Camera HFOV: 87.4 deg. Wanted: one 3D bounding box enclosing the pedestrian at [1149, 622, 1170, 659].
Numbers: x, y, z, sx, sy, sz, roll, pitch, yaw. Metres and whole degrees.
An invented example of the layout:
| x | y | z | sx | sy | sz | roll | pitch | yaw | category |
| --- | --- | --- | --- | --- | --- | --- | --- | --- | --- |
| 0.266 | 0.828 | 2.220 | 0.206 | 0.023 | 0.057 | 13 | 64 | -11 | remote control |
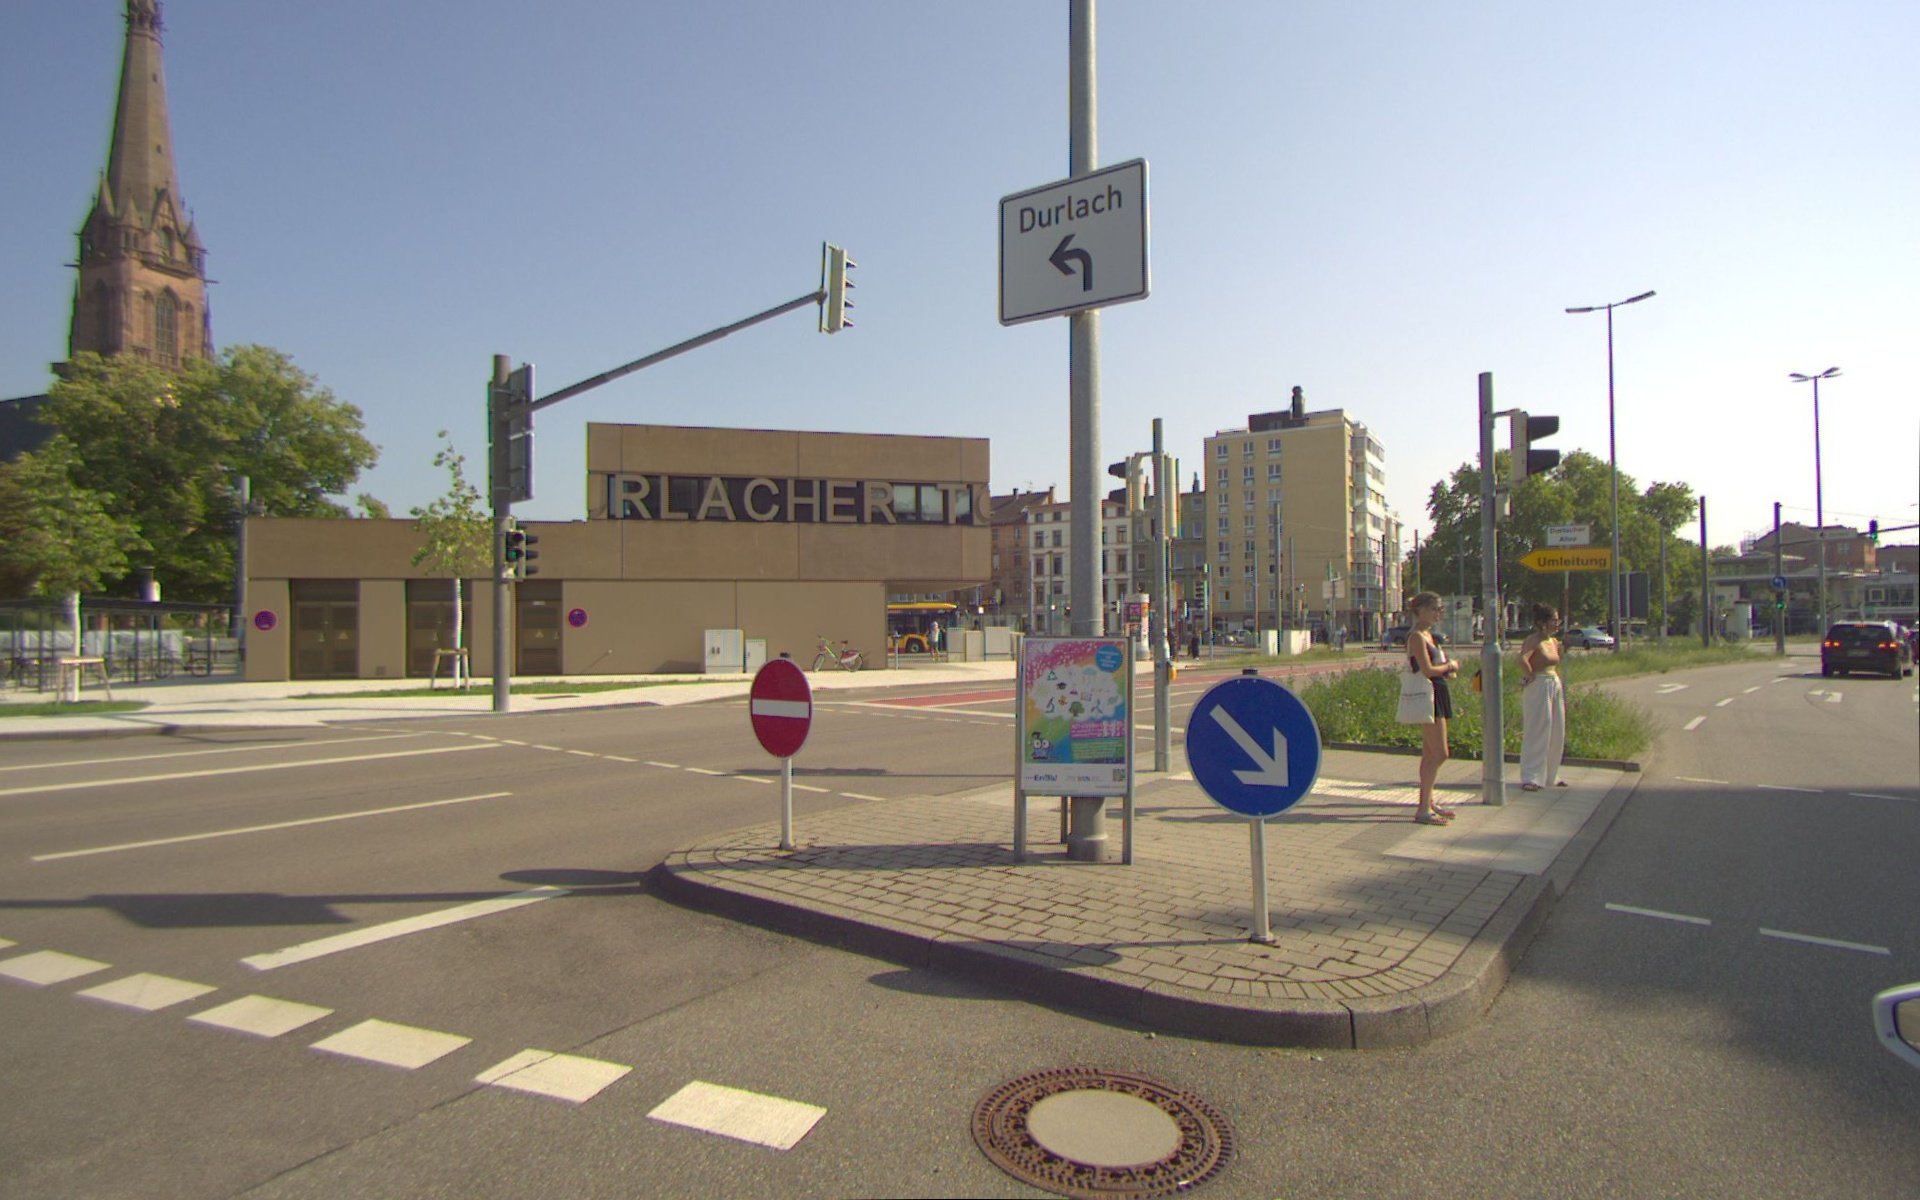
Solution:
| x | y | z | sx | sy | sz | roll | pitch | yaw | category |
| --- | --- | --- | --- | --- | --- | --- | --- | --- | --- |
| 9.864 | 1.988 | 49.708 | 0.769 | 1.824 | 0.697 | -2 | -2 | 41 | pedestrian |

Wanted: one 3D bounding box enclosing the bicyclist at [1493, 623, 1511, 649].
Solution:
| x | y | z | sx | sy | sz | roll | pitch | yaw | category |
| --- | --- | --- | --- | --- | --- | --- | --- | --- | --- |
| 35.709 | 2.376 | 66.175 | 0.870 | 1.674 | 0.723 | -1 | -2 | 37 | bicyclist |

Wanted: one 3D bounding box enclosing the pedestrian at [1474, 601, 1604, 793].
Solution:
| x | y | z | sx | sy | sz | roll | pitch | yaw | category |
| --- | --- | --- | --- | --- | --- | --- | --- | --- | --- |
| 5.298 | 0.858 | 9.220 | 0.766 | 1.676 | 0.666 | 0 | -2 | -17 | pedestrian |

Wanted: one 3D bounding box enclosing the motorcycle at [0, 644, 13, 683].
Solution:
| x | y | z | sx | sy | sz | roll | pitch | yaw | category |
| --- | --- | --- | --- | --- | --- | --- | --- | --- | --- |
| -31.844 | 2.042 | 31.980 | 2.341 | 1.221 | 0.755 | 0 | -2 | -24 | motorcycle |

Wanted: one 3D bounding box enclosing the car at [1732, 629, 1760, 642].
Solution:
| x | y | z | sx | sy | sz | roll | pitch | yaw | category |
| --- | --- | --- | --- | --- | --- | --- | --- | --- | --- |
| 96.155 | 4.305 | 122.874 | 4.062 | 1.542 | 1.687 | 1 | -2 | -38 | car |

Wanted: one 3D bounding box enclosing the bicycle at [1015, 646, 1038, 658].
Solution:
| x | y | z | sx | sy | sz | roll | pitch | yaw | category |
| --- | --- | --- | --- | --- | --- | --- | --- | --- | --- |
| 5.368 | 4.242 | 81.425 | 1.790 | 0.944 | 0.723 | -1 | -2 | 38 | bicycle |

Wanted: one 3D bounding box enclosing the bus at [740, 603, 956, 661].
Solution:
| x | y | z | sx | sy | sz | roll | pitch | yaw | category |
| --- | --- | --- | --- | --- | --- | --- | --- | --- | --- |
| -6.354 | 1.806 | 57.220 | 12.007 | 3.149 | 2.709 | 0 | -2 | -14 | bus |

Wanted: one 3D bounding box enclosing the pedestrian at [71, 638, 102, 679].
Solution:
| x | y | z | sx | sy | sz | roll | pitch | yaw | category |
| --- | --- | --- | --- | --- | --- | --- | --- | --- | --- |
| -30.637 | 2.046 | 35.243 | 0.579 | 1.427 | 0.689 | 0 | -2 | -18 | pedestrian |

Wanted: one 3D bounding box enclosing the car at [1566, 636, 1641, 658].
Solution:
| x | y | z | sx | sy | sz | roll | pitch | yaw | category |
| --- | --- | --- | --- | --- | --- | --- | --- | --- | --- |
| 43.833 | 3.202 | 68.519 | 1.789 | 1.452 | 4.211 | 0 | -2 | -16 | car |

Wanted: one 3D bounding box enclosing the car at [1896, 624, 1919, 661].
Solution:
| x | y | z | sx | sy | sz | roll | pitch | yaw | category |
| --- | --- | --- | --- | --- | --- | --- | --- | --- | --- |
| 41.738 | 1.796 | 43.283 | 4.382 | 1.555 | 1.808 | 1 | -2 | -44 | car |

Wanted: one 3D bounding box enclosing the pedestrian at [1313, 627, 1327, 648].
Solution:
| x | y | z | sx | sy | sz | roll | pitch | yaw | category |
| --- | --- | --- | --- | --- | --- | --- | --- | --- | --- |
| 29.861 | 3.108 | 83.278 | 0.909 | 1.712 | 0.920 | -1 | -1 | 31 | pedestrian |

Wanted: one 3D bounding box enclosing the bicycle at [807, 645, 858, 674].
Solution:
| x | y | z | sx | sy | sz | roll | pitch | yaw | category |
| --- | --- | --- | --- | --- | --- | --- | --- | --- | --- |
| -3.976 | 1.851 | 31.256 | 1.520 | 0.849 | 0.591 | 0 | 1 | -13 | bicycle |

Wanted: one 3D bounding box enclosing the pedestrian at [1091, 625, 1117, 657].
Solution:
| x | y | z | sx | sy | sz | roll | pitch | yaw | category |
| --- | --- | --- | --- | --- | --- | --- | --- | --- | --- |
| 7.021 | 2.003 | 49.118 | 0.855 | 1.583 | 0.983 | 1 | -2 | -28 | pedestrian |

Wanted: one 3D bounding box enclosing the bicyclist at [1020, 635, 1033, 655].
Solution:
| x | y | z | sx | sy | sz | roll | pitch | yaw | category |
| --- | --- | --- | --- | --- | --- | --- | --- | --- | --- |
| 5.393 | 3.654 | 81.419 | 0.784 | 1.547 | 0.723 | -1 | -2 | 37 | bicyclist |

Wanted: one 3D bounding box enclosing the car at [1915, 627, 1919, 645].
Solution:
| x | y | z | sx | sy | sz | roll | pitch | yaw | category |
| --- | --- | --- | --- | --- | --- | --- | --- | --- | --- |
| 81.772 | 2.993 | 83.881 | 3.948 | 1.495 | 1.609 | 1 | -4 | -27 | car |

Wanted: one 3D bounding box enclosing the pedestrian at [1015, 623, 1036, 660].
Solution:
| x | y | z | sx | sy | sz | roll | pitch | yaw | category |
| --- | --- | --- | --- | --- | --- | --- | --- | --- | --- |
| 3.258 | 2.064 | 50.157 | 0.769 | 1.824 | 0.697 | -2 | -2 | 41 | pedestrian |

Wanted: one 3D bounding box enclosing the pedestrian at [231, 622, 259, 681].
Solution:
| x | y | z | sx | sy | sz | roll | pitch | yaw | category |
| --- | --- | --- | --- | --- | --- | --- | --- | --- | --- |
| -21.153 | 1.508 | 29.715 | 0.400 | 1.728 | 0.525 | -1 | -1 | 9 | pedestrian |

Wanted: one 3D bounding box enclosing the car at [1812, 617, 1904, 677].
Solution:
| x | y | z | sx | sy | sz | roll | pitch | yaw | category |
| --- | --- | --- | --- | --- | --- | --- | --- | --- | --- |
| 28.345 | 1.436 | 31.662 | 4.382 | 1.736 | 1.808 | 1 | -2 | -44 | car |

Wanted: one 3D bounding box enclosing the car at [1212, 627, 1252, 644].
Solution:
| x | y | z | sx | sy | sz | roll | pitch | yaw | category |
| --- | --- | --- | --- | --- | --- | --- | --- | --- | --- |
| 28.109 | 3.654 | 104.059 | 1.968 | 1.700 | 4.535 | 1 | -2 | -17 | car |

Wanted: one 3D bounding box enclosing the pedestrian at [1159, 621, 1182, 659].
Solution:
| x | y | z | sx | sy | sz | roll | pitch | yaw | category |
| --- | --- | --- | --- | --- | --- | --- | --- | --- | --- |
| 10.229 | 1.949 | 48.770 | 0.771 | 1.824 | 0.792 | 1 | -2 | -31 | pedestrian |

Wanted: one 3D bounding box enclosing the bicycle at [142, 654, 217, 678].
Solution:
| x | y | z | sx | sy | sz | roll | pitch | yaw | category |
| --- | --- | --- | --- | --- | --- | --- | --- | --- | --- |
| -26.520 | 2.239 | 34.159 | 1.899 | 0.790 | 0.628 | 0 | -2 | -20 | bicycle |

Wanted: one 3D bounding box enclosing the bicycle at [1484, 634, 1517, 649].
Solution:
| x | y | z | sx | sy | sz | roll | pitch | yaw | category |
| --- | --- | --- | --- | --- | --- | --- | --- | --- | --- |
| 35.632 | 2.739 | 66.226 | 1.790 | 0.944 | 0.723 | -1 | -2 | 38 | bicycle |

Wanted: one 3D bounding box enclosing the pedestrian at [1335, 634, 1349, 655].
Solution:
| x | y | z | sx | sy | sz | roll | pitch | yaw | category |
| --- | --- | --- | --- | --- | --- | --- | --- | --- | --- |
| 31.330 | 3.617 | 82.355 | 0.909 | 1.712 | 0.920 | -1 | -1 | 31 | pedestrian |

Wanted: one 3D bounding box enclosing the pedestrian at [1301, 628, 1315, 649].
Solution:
| x | y | z | sx | sy | sz | roll | pitch | yaw | category |
| --- | --- | --- | --- | --- | --- | --- | --- | --- | --- |
| 29.112 | 3.206 | 84.085 | 0.909 | 1.712 | 0.920 | -1 | -1 | 31 | pedestrian |

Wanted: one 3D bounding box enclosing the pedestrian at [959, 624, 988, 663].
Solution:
| x | y | z | sx | sy | sz | roll | pitch | yaw | category |
| --- | --- | --- | --- | --- | --- | --- | --- | --- | --- |
| 0.623 | 1.930 | 44.724 | 0.974 | 1.727 | 0.863 | -1 | -2 | 35 | pedestrian |

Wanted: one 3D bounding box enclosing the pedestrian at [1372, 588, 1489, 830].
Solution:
| x | y | z | sx | sy | sz | roll | pitch | yaw | category |
| --- | --- | --- | --- | --- | --- | --- | --- | --- | --- |
| 3.578 | 0.792 | 7.633 | 0.658 | 1.721 | 0.689 | -2 | -2 | 37 | pedestrian |

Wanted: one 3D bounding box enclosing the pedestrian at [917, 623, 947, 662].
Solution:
| x | y | z | sx | sy | sz | roll | pitch | yaw | category |
| --- | --- | --- | --- | --- | --- | --- | --- | --- | --- |
| -1.200 | 1.840 | 43.498 | 0.974 | 1.694 | 0.863 | -1 | -2 | 35 | pedestrian |

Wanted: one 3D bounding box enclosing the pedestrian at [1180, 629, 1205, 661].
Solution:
| x | y | z | sx | sy | sz | roll | pitch | yaw | category |
| --- | --- | --- | --- | --- | --- | --- | --- | --- | --- |
| 11.379 | 2.193 | 49.177 | 0.971 | 1.579 | 0.865 | 0 | -2 | -7 | pedestrian |
